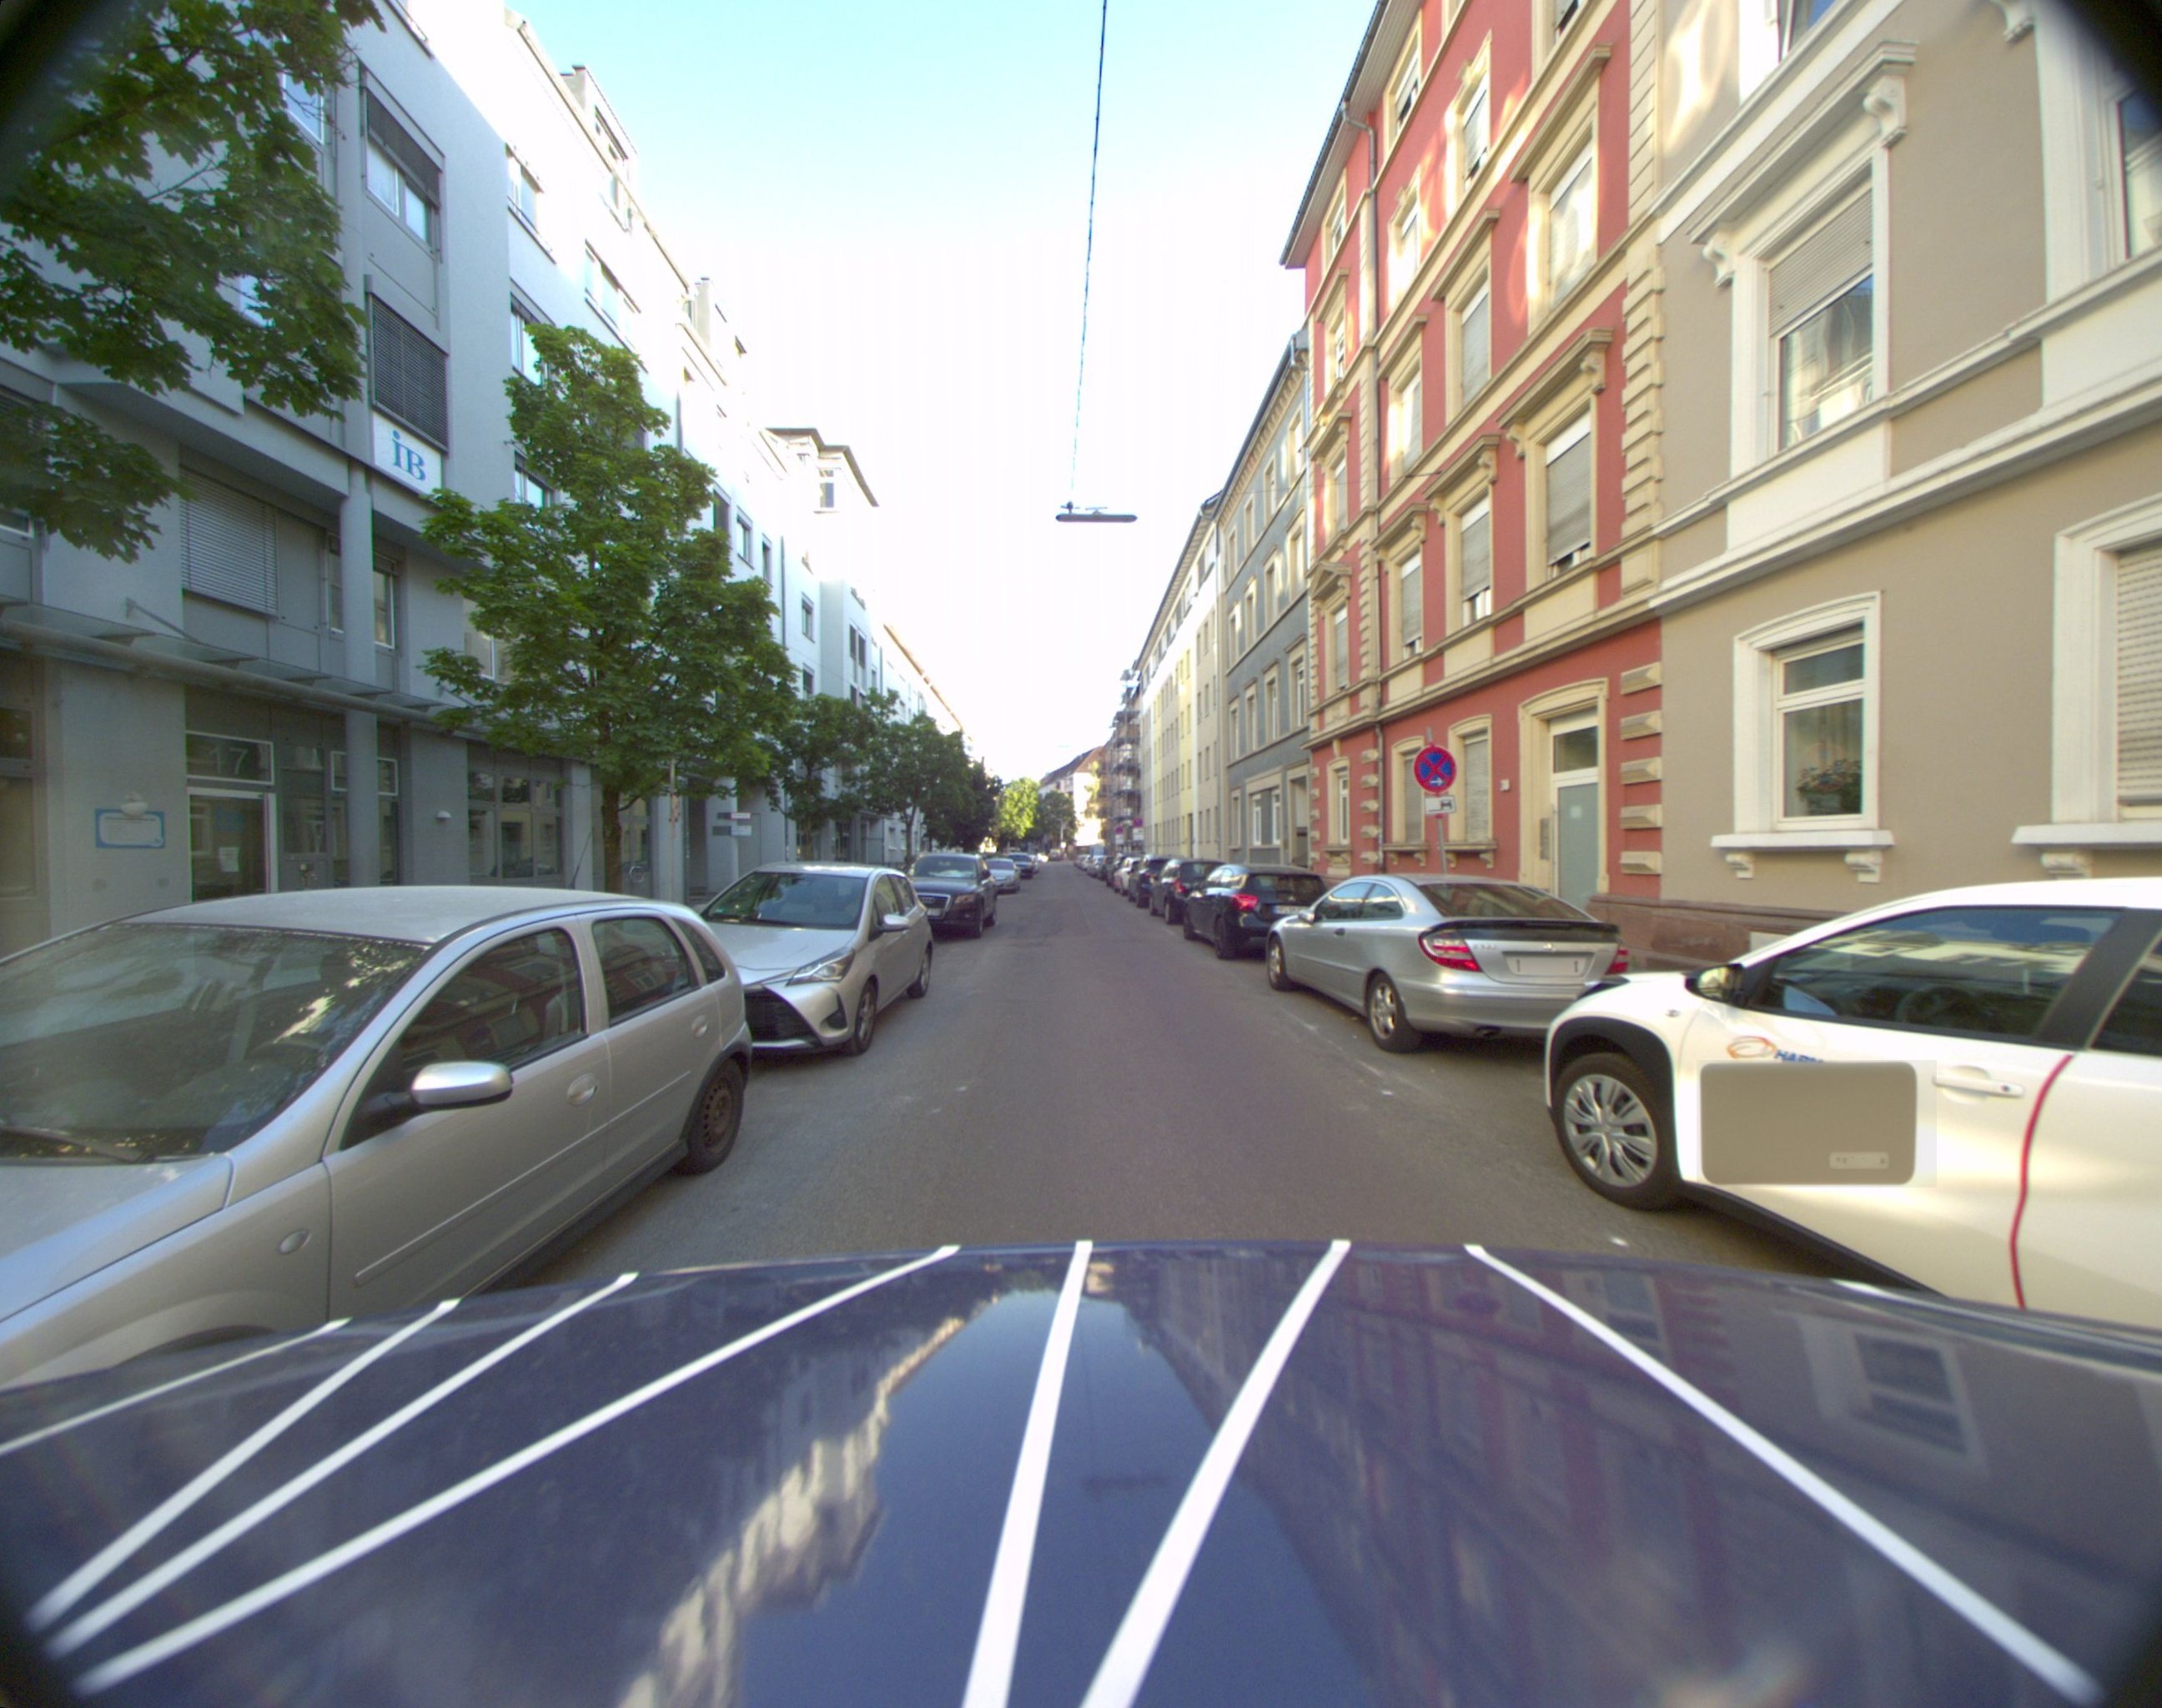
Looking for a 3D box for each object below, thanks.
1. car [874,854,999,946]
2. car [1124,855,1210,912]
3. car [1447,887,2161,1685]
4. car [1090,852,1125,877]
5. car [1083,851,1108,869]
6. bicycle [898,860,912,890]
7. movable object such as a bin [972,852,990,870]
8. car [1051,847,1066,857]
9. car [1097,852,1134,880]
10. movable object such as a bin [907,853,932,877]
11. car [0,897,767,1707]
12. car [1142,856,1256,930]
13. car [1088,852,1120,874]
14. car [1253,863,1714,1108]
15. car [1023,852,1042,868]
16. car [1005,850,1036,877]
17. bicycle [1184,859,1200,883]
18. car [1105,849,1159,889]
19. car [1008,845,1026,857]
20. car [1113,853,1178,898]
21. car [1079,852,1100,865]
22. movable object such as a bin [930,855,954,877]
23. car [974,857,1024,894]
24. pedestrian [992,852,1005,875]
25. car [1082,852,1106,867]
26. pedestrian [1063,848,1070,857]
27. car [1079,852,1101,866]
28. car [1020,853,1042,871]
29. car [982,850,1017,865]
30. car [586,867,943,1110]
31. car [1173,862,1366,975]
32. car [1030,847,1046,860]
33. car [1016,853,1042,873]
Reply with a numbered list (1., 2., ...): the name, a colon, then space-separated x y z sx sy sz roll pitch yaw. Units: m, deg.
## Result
1. car: -2.856 0.843 16.019 1.890 1.613 4.433 1 1 -2
2. car: 2.531 0.820 23.374 1.926 1.551 4.266 1 0 -3
3. car: 3.170 0.963 2.392 1.925 1.498 4.266 1 0 0
4. car: 1.687 0.634 49.556 1.928 1.480 4.616 1 0 -2
5. car: 1.299 0.522 69.368 1.999 1.496 3.998 1 1 -3
6. bicycle: -7.094 0.840 30.658 0.522 1.161 1.738 1 1 -12
7. movable object such as a bin: -7.849 0.539 59.871 1.288 1.428 1.223 0 1 -2
8. car: -3.971 -0.335 132.077 2.081 1.760 4.214 1 1 -8
9. car: 1.986 0.667 44.708 1.784 1.480 4.419 1 1 -2
10. movable object such as a bin: -9.582 0.654 45.119 1.265 1.428 1.138 0 1 -2
11. car: -2.599 0.997 2.301 1.680 1.467 3.729 1 1 1
12. car: 2.727 0.848 18.559 1.906 1.551 4.239 1 0 -3
13. car: 1.609 0.614 54.924 1.928 1.480 4.615 1 0 -3
14. car: 3.175 0.913 7.193 1.926 1.551 4.266 1 0 -3
15. car: -4.491 0.557 70.890 1.681 1.411 4.134 1 1 -2
16. car: -3.879 0.587 49.158 1.876 1.626 4.720 1 1 -3
17. bicycle: 5.238 0.788 35.954 0.451 1.068 1.751 -2 1 -2
18. car: 2.261 0.650 34.651 1.926 1.654 4.467 1 0 -3
19. car: -11.909 -0.565 140.572 2.163 2.270 6.199 1 1 -15
20. car: 2.395 0.765 29.274 1.926 1.551 4.266 1 0 -3
21. car: 0.904 0.472 84.926 1.999 1.423 3.998 1 1 -3
22. movable object such as a bin: -8.284 0.714 45.412 1.265 1.313 1.138 0 1 -2
23. car: -3.419 0.864 32.489 1.768 1.421 4.343 1 1 -2
24. pedestrian: -5.395 0.590 49.473 0.802 1.455 0.870 1 1 -5
25. car: 1.211 0.529 74.195 1.999 1.439 3.998 1 1 -3
26. pedestrian: -2.453 -0.194 128.112 0.868 1.455 0.803 1 1 24
27. car: 0.957 0.530 79.504 1.999 1.423 3.998 1 1 -3
28. car: -4.237 0.654 64.707 1.681 1.411 4.135 1 1 -2
29. car: -9.409 0.391 88.184 3.998 1.556 1.999 1 1 -4
30. car: -2.491 0.943 7.091 1.681 1.516 3.969 1 1 0
31. car: 2.861 0.920 12.587 1.926 1.475 4.266 1 0 -3
32. car: -6.839 -0.072 121.253 1.998 2.002 4.000 -2 1 2
33. car: -4.071 0.687 59.761 1.680 1.474 3.652 1 1 1
